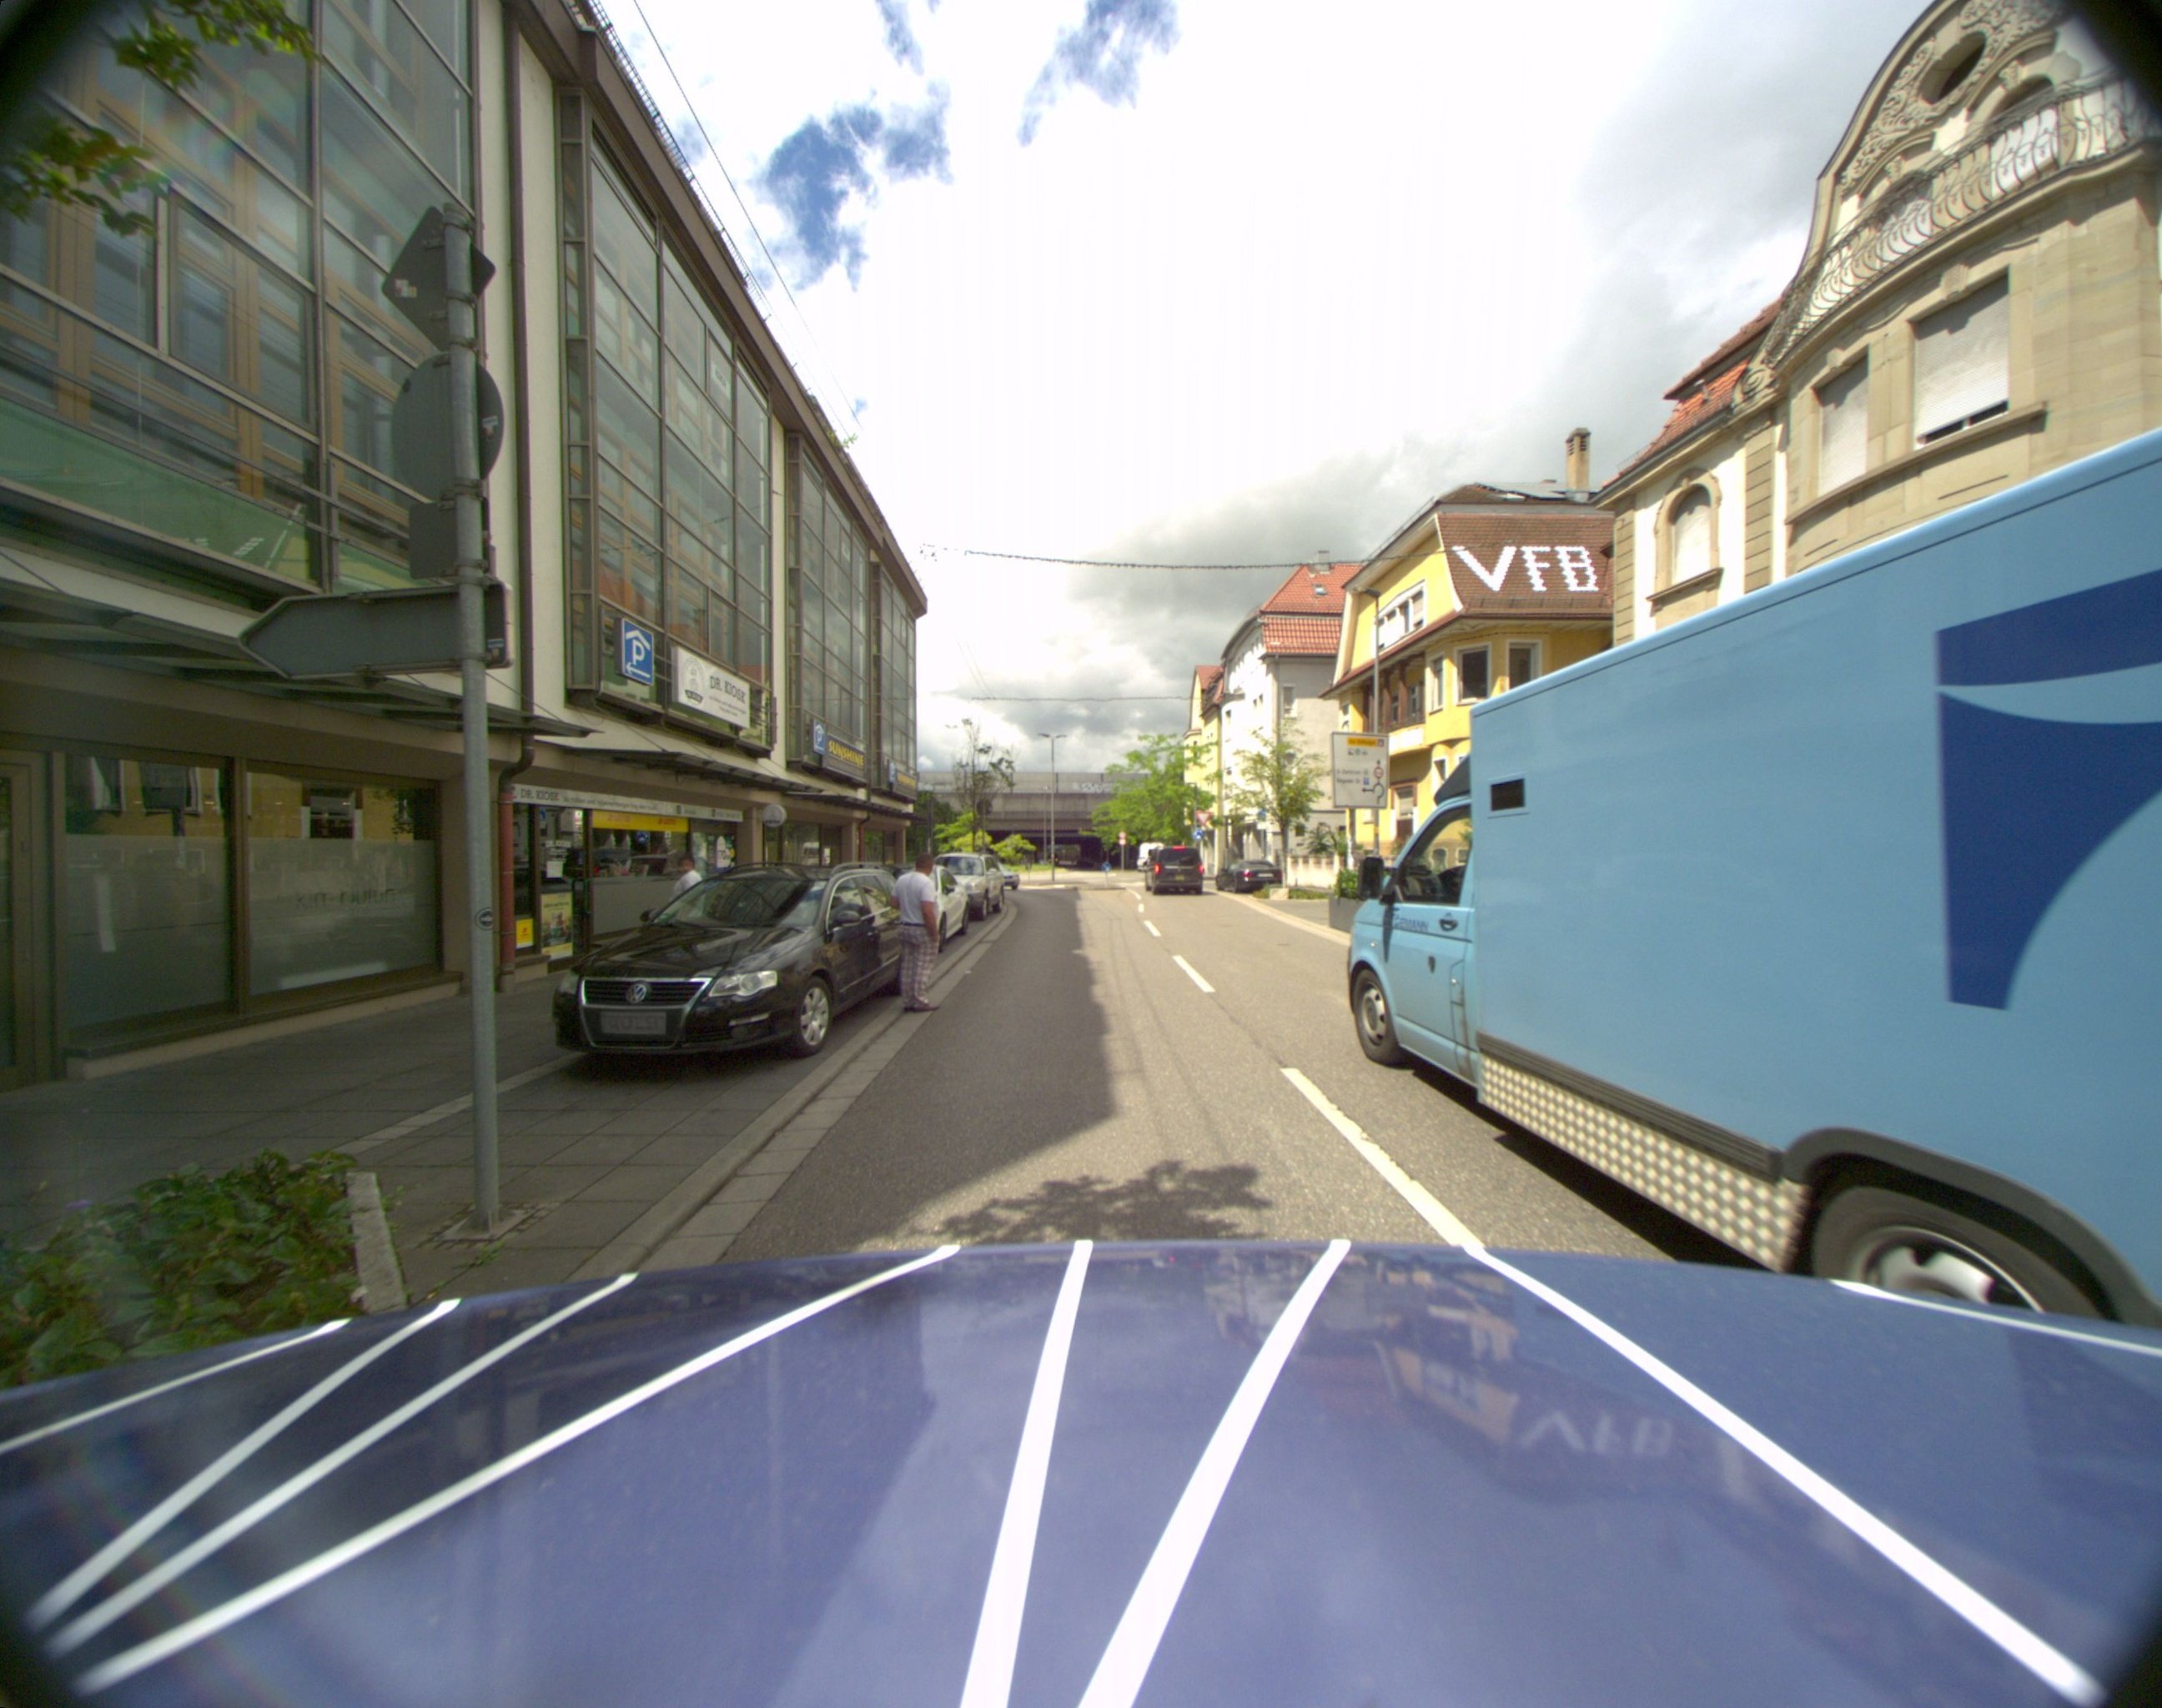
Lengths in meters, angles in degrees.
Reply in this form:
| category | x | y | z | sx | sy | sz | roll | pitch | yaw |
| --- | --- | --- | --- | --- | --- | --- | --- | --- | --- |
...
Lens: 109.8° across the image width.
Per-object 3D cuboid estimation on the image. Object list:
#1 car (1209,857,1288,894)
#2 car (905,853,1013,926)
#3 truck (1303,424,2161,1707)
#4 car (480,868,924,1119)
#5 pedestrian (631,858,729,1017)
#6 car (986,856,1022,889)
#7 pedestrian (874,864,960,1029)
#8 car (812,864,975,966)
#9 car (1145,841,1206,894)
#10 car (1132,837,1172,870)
| category | x | y | z | sx | sy | sz | roll | pitch | yaw |
| --- | --- | --- | --- | --- | --- | --- | --- | --- | --- |
| car | 6.400 | 0.797 | 29.541 | 1.722 | 1.296 | 4.464 | -1 | -1 | -5 |
| car | -3.037 | 0.812 | 19.839 | 1.825 | 1.652 | 4.467 | 1 | 0 | 3 |
| truck | 2.934 | 0.375 | 3.513 | 2.111 | 2.292 | 6.476 | -2 | 1 | 2 |
| car | -2.843 | 0.920 | 7.028 | 1.719 | 1.445 | 4.552 | -1 | 0 | 1 |
| pedestrian | -4.101 | 0.833 | 7.801 | 0.661 | 1.553 | 0.477 | -2 | 1 | 1 |
| car | -3.880 | 0.899 | 38.606 | 1.724 | 1.517 | 3.596 | -1 | 0 | -4 |
| pedestrian | -1.667 | 0.917 | 7.761 | 0.584 | 1.590 | 0.549 | -2 | 1 | 21 |
| car | -3.161 | 0.954 | 13.814 | 1.857 | 1.436 | 4.535 | -1 | 0 | -1 |
| car | 3.698 | 0.541 | 30.672 | 1.876 | 1.921 | 5.177 | -1 | -1 | 1 |
| car | 6.308 | -0.073 | 68.078 | 2.309 | 2.657 | 7.265 | -2 | 1 | -4 |
